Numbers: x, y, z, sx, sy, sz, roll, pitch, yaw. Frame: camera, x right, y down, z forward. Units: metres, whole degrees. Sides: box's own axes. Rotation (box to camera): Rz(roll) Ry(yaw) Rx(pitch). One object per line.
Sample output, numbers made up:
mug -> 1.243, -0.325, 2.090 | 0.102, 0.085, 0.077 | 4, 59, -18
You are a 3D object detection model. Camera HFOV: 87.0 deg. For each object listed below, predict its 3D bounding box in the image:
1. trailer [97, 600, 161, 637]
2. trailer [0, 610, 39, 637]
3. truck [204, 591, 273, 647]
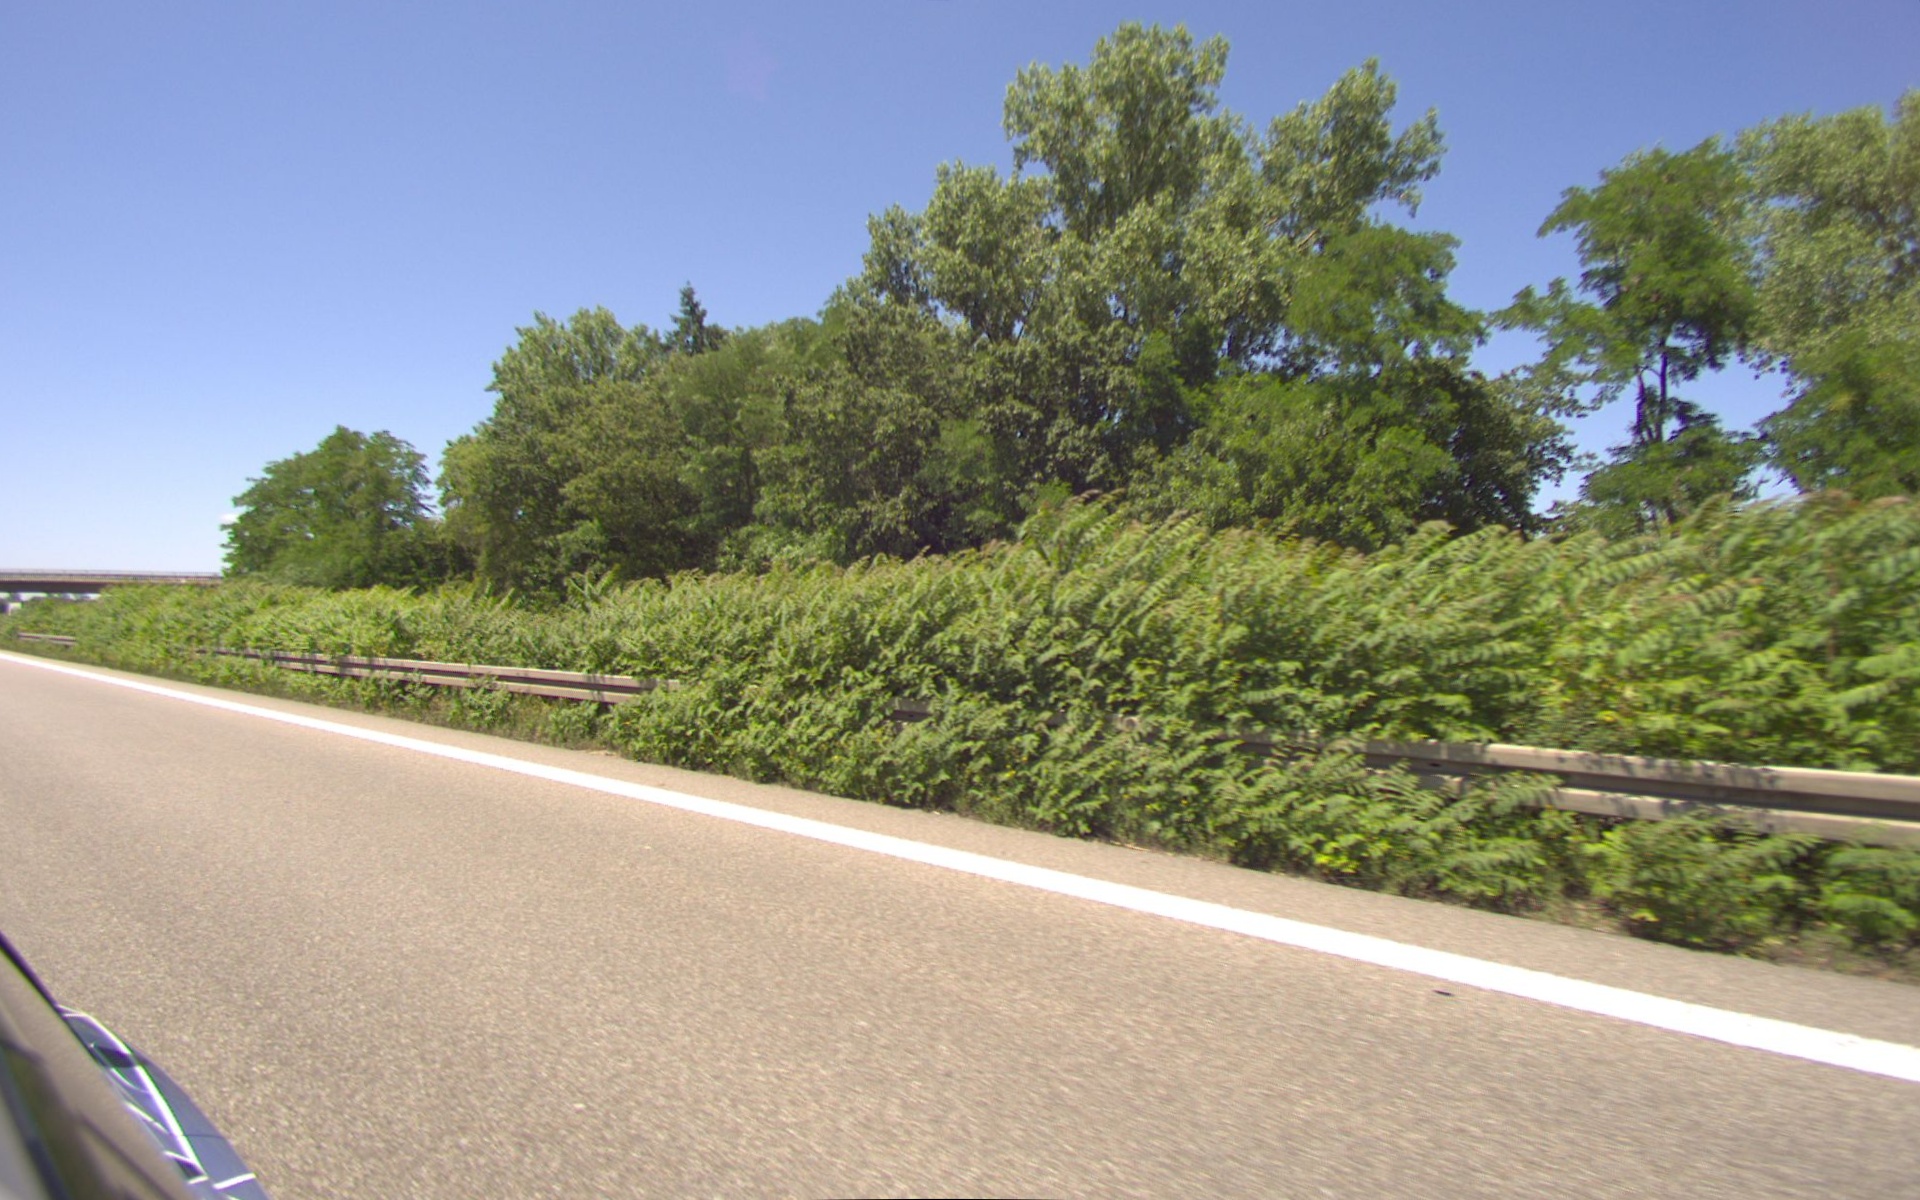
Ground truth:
trailer -> -80.978, 1.841, 98.453 | 14.148, 3.443, 2.560 | -2, 0, 41
trailer -> -136.787, 3.421, 147.065 | 13.922, 3.738, 2.796 | -2, 0, 41
truck -> -50.696, 1.318, 71.010 | 6.827, 3.733, 2.563 | -2, 0, 43
